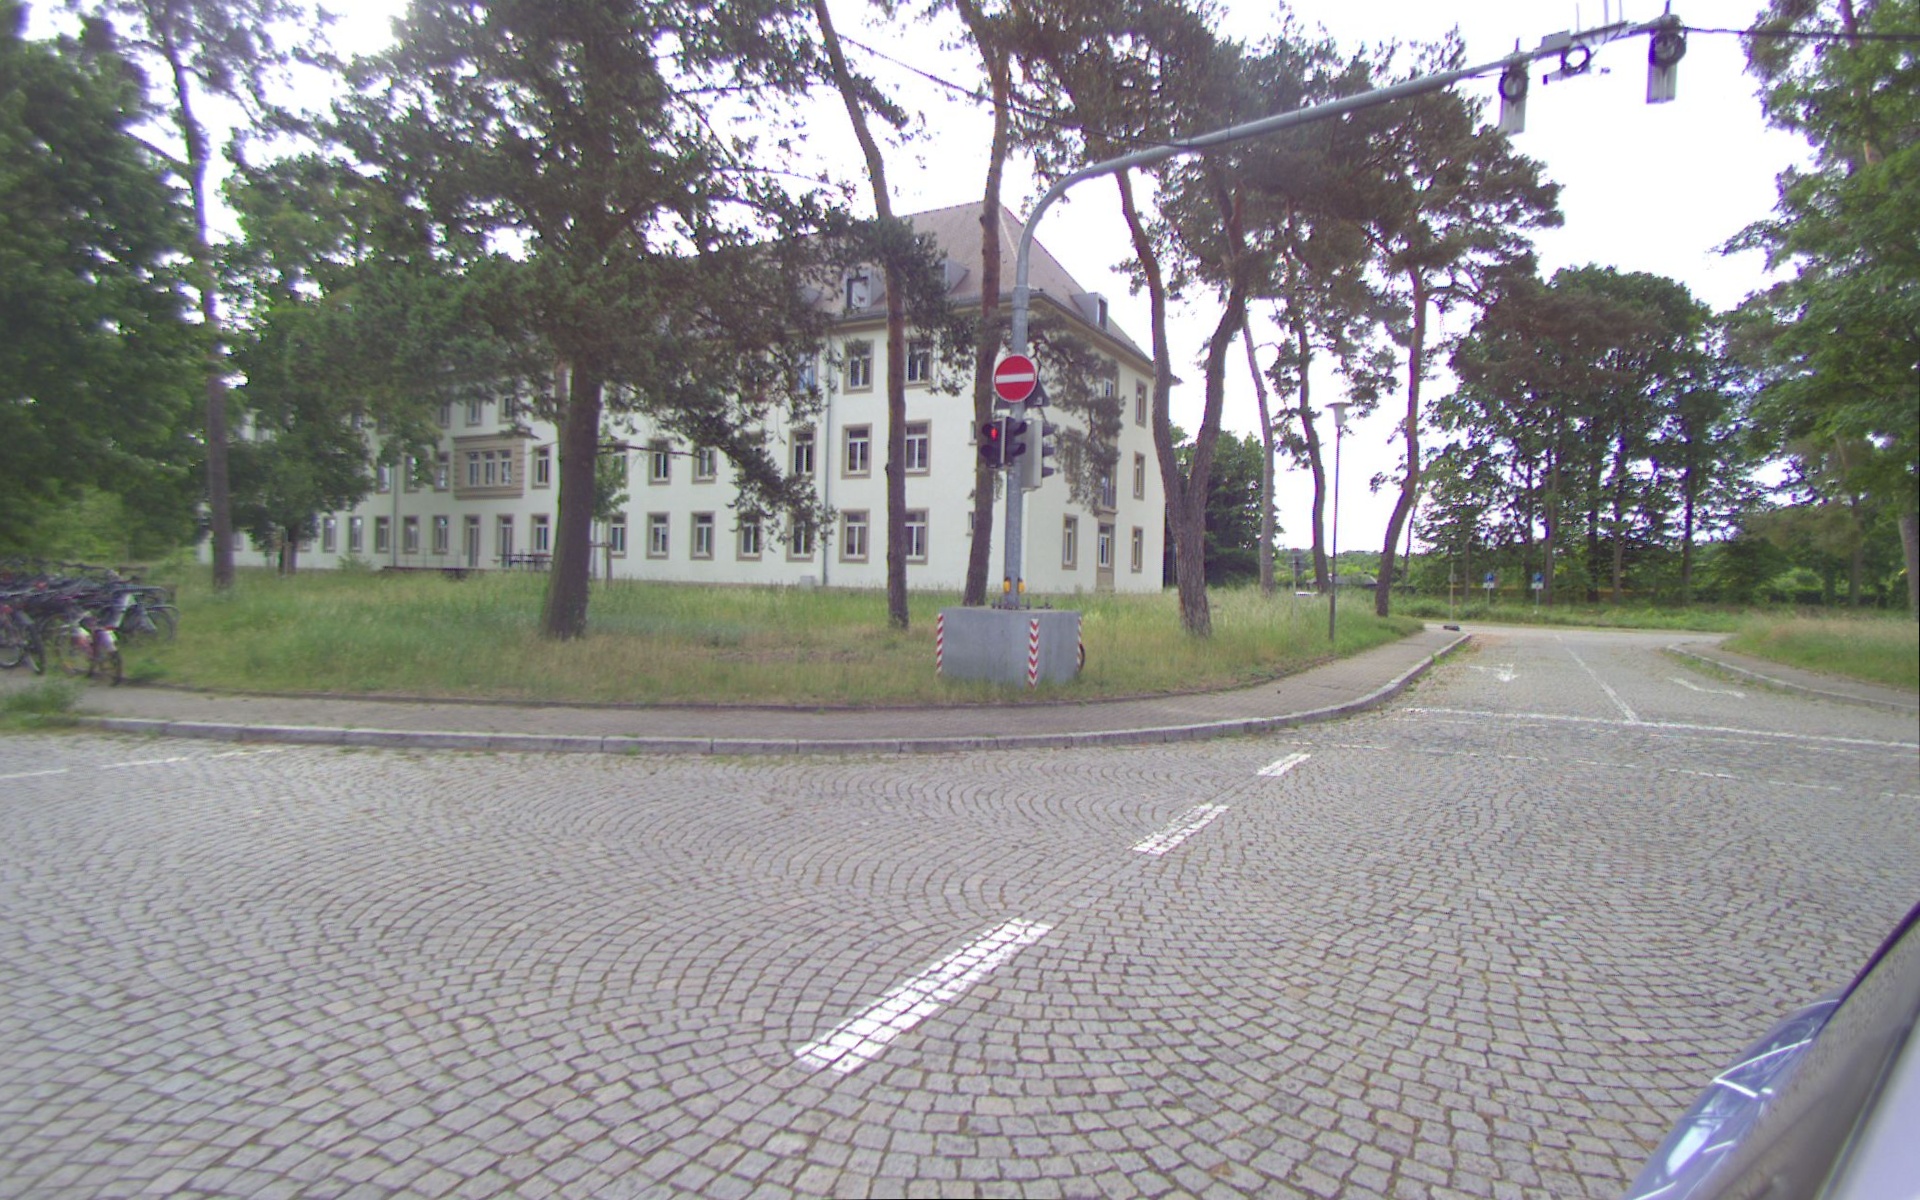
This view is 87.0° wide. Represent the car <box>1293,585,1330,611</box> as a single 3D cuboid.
[{"bbox_3d":[20.799,-0.098,59.826,1.476,1.455,3.160,2,0,31],"label":"car"}]

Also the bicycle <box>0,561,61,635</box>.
[{"bbox_3d":[-16.790,-0.043,17.339,0.618,1.263,1.969,1,0,28],"label":"bicycle"}]

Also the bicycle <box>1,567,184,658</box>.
[{"bbox_3d":[-12.885,0.172,15.112,0.618,1.263,1.969,1,0,28],"label":"bicycle"}]

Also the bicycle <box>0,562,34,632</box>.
[{"bbox_3d":[-17.788,-0.043,17.897,0.618,1.263,1.970,1,3,28],"label":"bicycle"}]

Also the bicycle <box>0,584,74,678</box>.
[{"bbox_3d":[-11.877,0.359,12.789,1.666,1.096,0.616,2,0,35],"label":"bicycle"}]

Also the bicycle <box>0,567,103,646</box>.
[{"bbox_3d":[-15.408,0.094,16.581,0.618,1.263,1.969,1,0,28],"label":"bicycle"}]

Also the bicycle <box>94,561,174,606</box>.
[{"bbox_3d":[-21.328,-0.418,26.157,0.398,1.139,1.537,2,1,31],"label":"bicycle"}]

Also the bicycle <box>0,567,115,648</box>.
[{"bbox_3d":[-14.965,0.108,16.307,0.618,1.263,1.969,1,0,28],"label":"bicycle"}]

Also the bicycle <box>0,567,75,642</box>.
[{"bbox_3d":[-16.341,0.066,17.102,0.618,1.263,1.969,1,0,28],"label":"bicycle"}]

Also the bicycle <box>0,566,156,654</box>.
[{"bbox_3d":[-13.687,0.147,15.561,0.618,1.263,1.969,1,0,28],"label":"bicycle"}]

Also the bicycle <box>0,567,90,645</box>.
[{"bbox_3d":[-15.752,0.084,16.726,0.618,1.263,1.969,1,0,28],"label":"bicycle"}]

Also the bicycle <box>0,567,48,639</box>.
[{"bbox_3d":[-17.224,0.039,17.569,0.618,1.263,1.969,1,0,28],"label":"bicycle"}]

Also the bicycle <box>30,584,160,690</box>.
[{"bbox_3d":[-10.168,0.395,11.876,1.975,1.127,0.617,2,0,34],"label":"bicycle"}]

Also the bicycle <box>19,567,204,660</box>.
[{"bbox_3d":[-12.346,0.188,14.800,0.618,1.263,1.969,1,0,28],"label":"bicycle"}]

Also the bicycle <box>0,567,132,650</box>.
[{"bbox_3d":[-14.425,0.125,15.987,0.618,1.263,1.969,1,0,28],"label":"bicycle"}]

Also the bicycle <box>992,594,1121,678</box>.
[{"bbox_3d":[1.310,0.463,13.864,1.667,0.982,0.575,4,4,35],"label":"bicycle"}]

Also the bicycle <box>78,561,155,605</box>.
[{"bbox_3d":[-22.346,-0.453,26.836,0.398,1.139,1.537,2,1,31],"label":"bicycle"}]
